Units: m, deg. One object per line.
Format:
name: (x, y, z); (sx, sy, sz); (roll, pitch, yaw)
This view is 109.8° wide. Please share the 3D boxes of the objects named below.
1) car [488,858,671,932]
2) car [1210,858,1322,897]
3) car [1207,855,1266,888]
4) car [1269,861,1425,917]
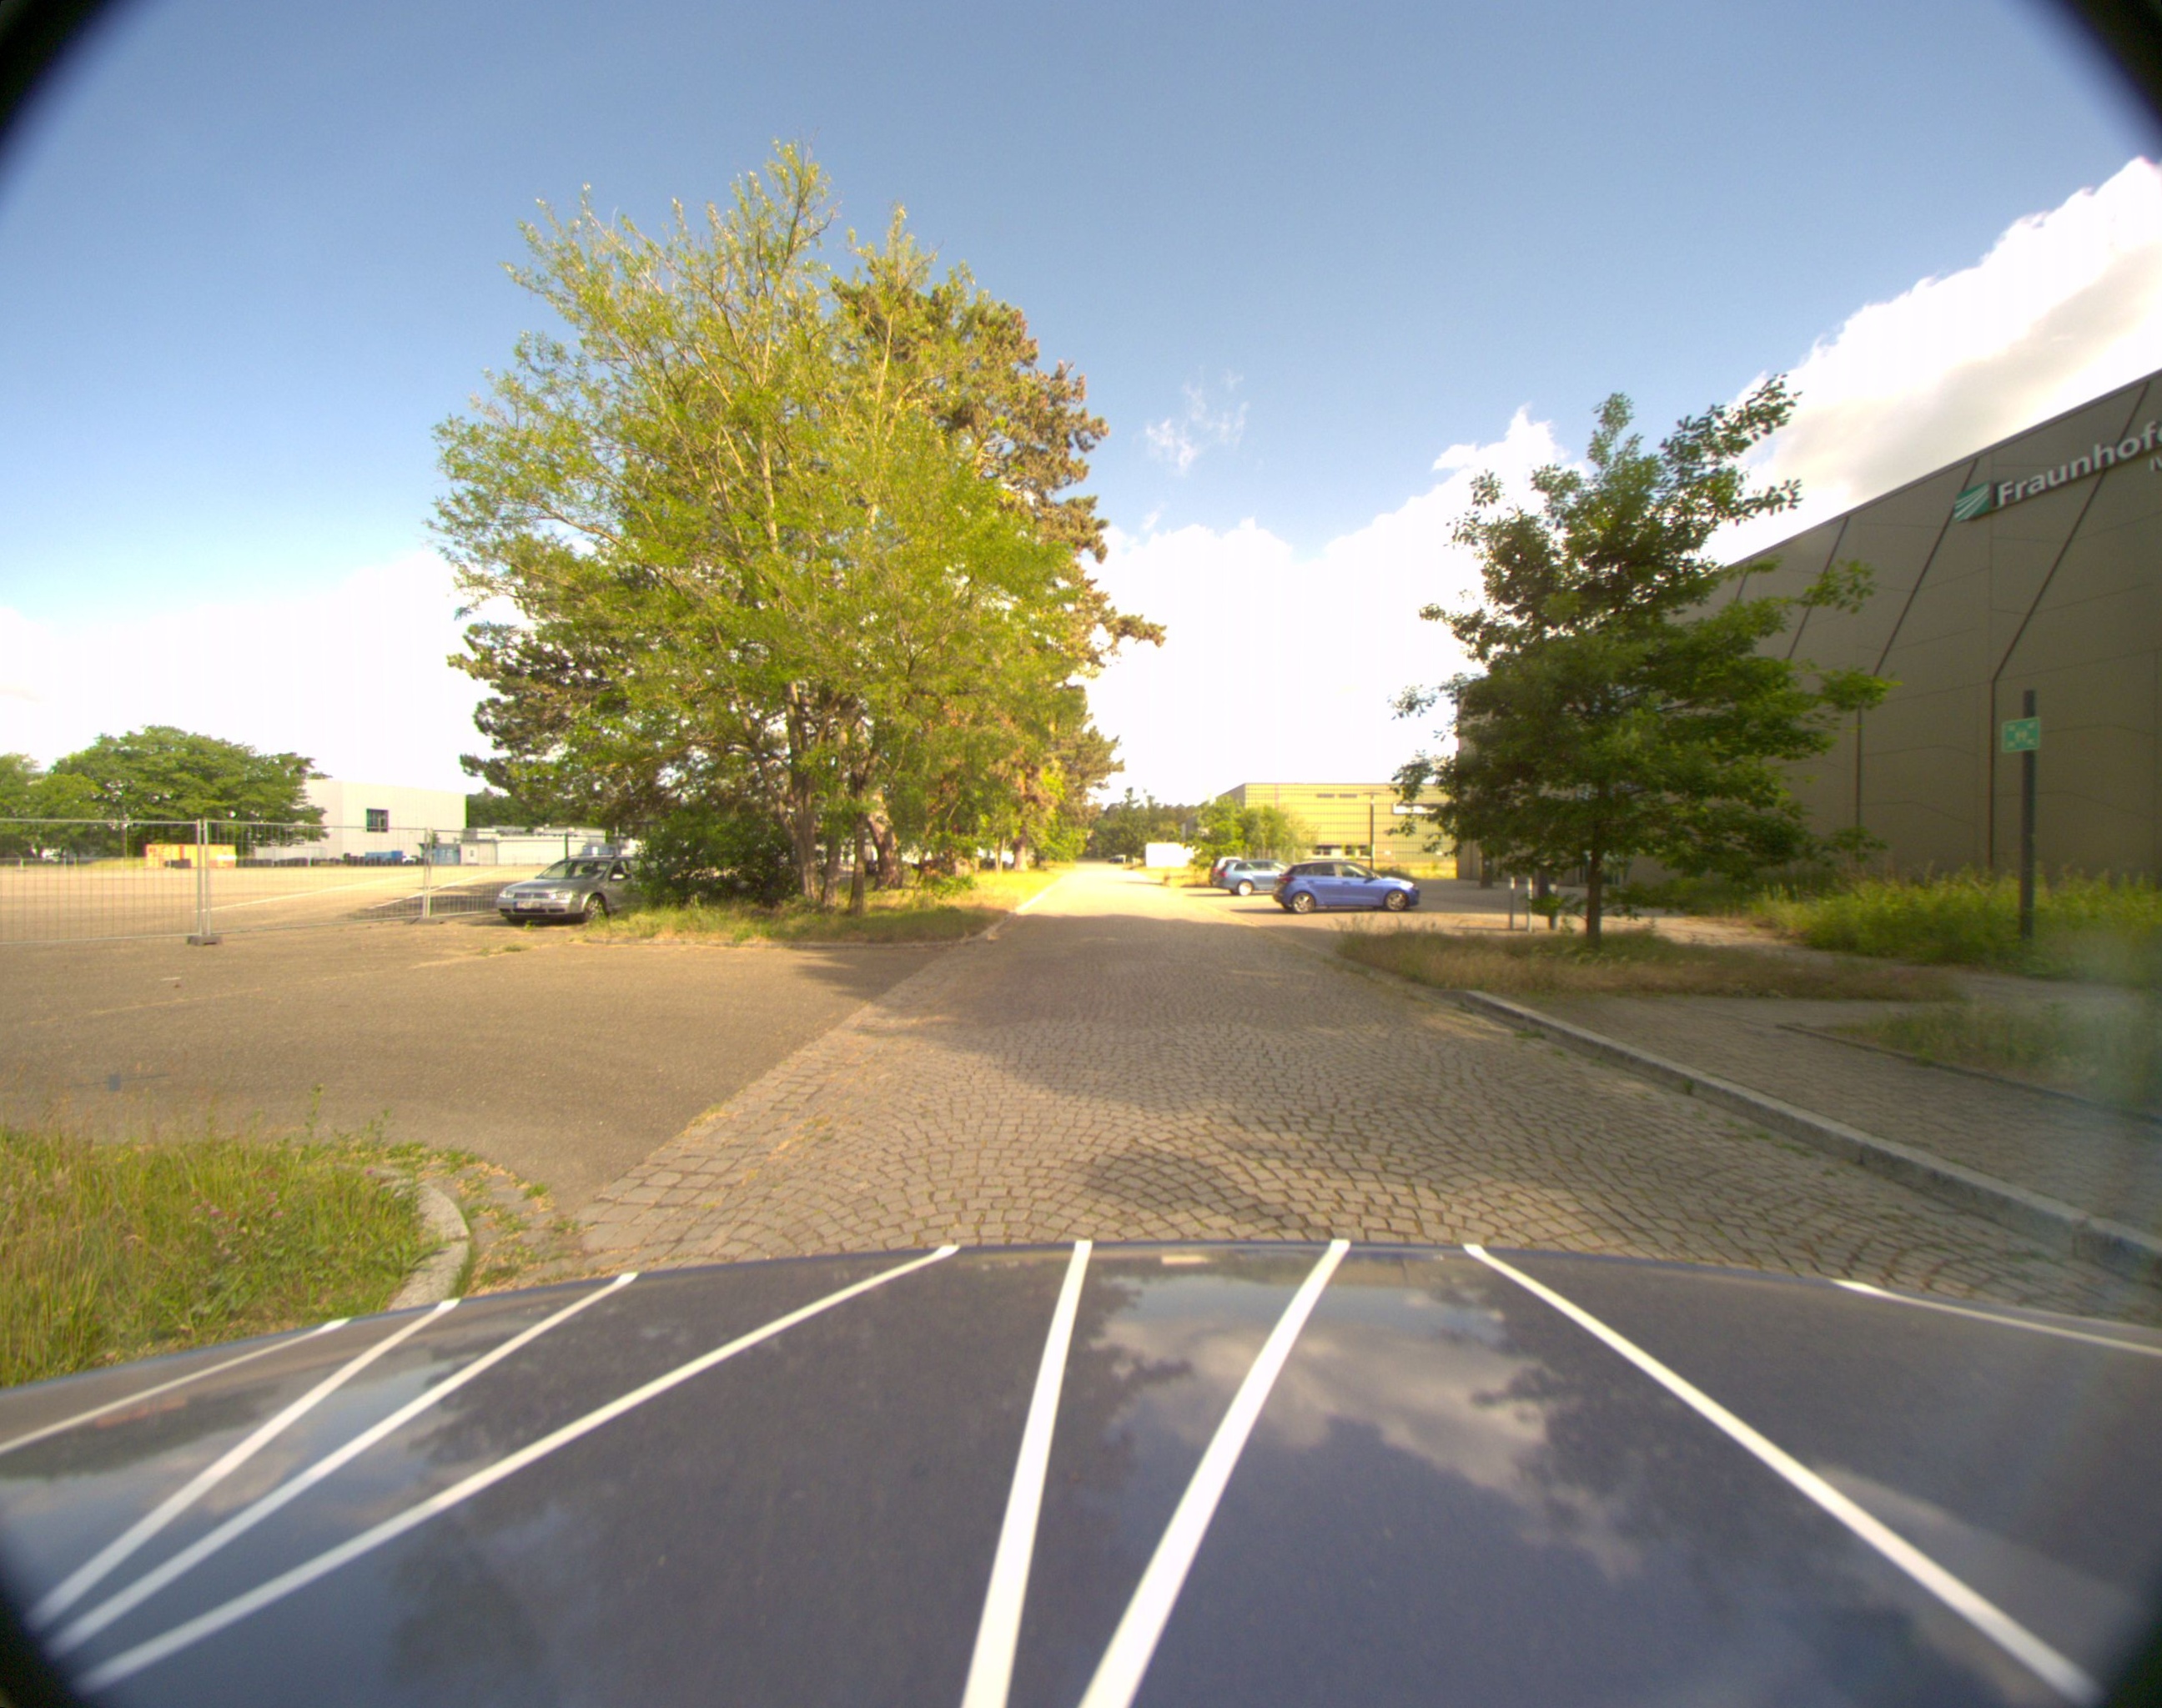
car: (-11.019, 0.824, 17.080); (1.578, 1.435, 3.985); (0, 0, -2)
car: (7.600, 0.929, 31.398); (4.179, 1.465, 1.734); (-1, 0, -1)
car: (7.910, 0.869, 38.759); (2.652, 1.559, 1.481); (-1, 0, 0)
car: (7.565, 0.973, 21.917); (3.917, 1.459, 1.735); (-1, 0, 3)
